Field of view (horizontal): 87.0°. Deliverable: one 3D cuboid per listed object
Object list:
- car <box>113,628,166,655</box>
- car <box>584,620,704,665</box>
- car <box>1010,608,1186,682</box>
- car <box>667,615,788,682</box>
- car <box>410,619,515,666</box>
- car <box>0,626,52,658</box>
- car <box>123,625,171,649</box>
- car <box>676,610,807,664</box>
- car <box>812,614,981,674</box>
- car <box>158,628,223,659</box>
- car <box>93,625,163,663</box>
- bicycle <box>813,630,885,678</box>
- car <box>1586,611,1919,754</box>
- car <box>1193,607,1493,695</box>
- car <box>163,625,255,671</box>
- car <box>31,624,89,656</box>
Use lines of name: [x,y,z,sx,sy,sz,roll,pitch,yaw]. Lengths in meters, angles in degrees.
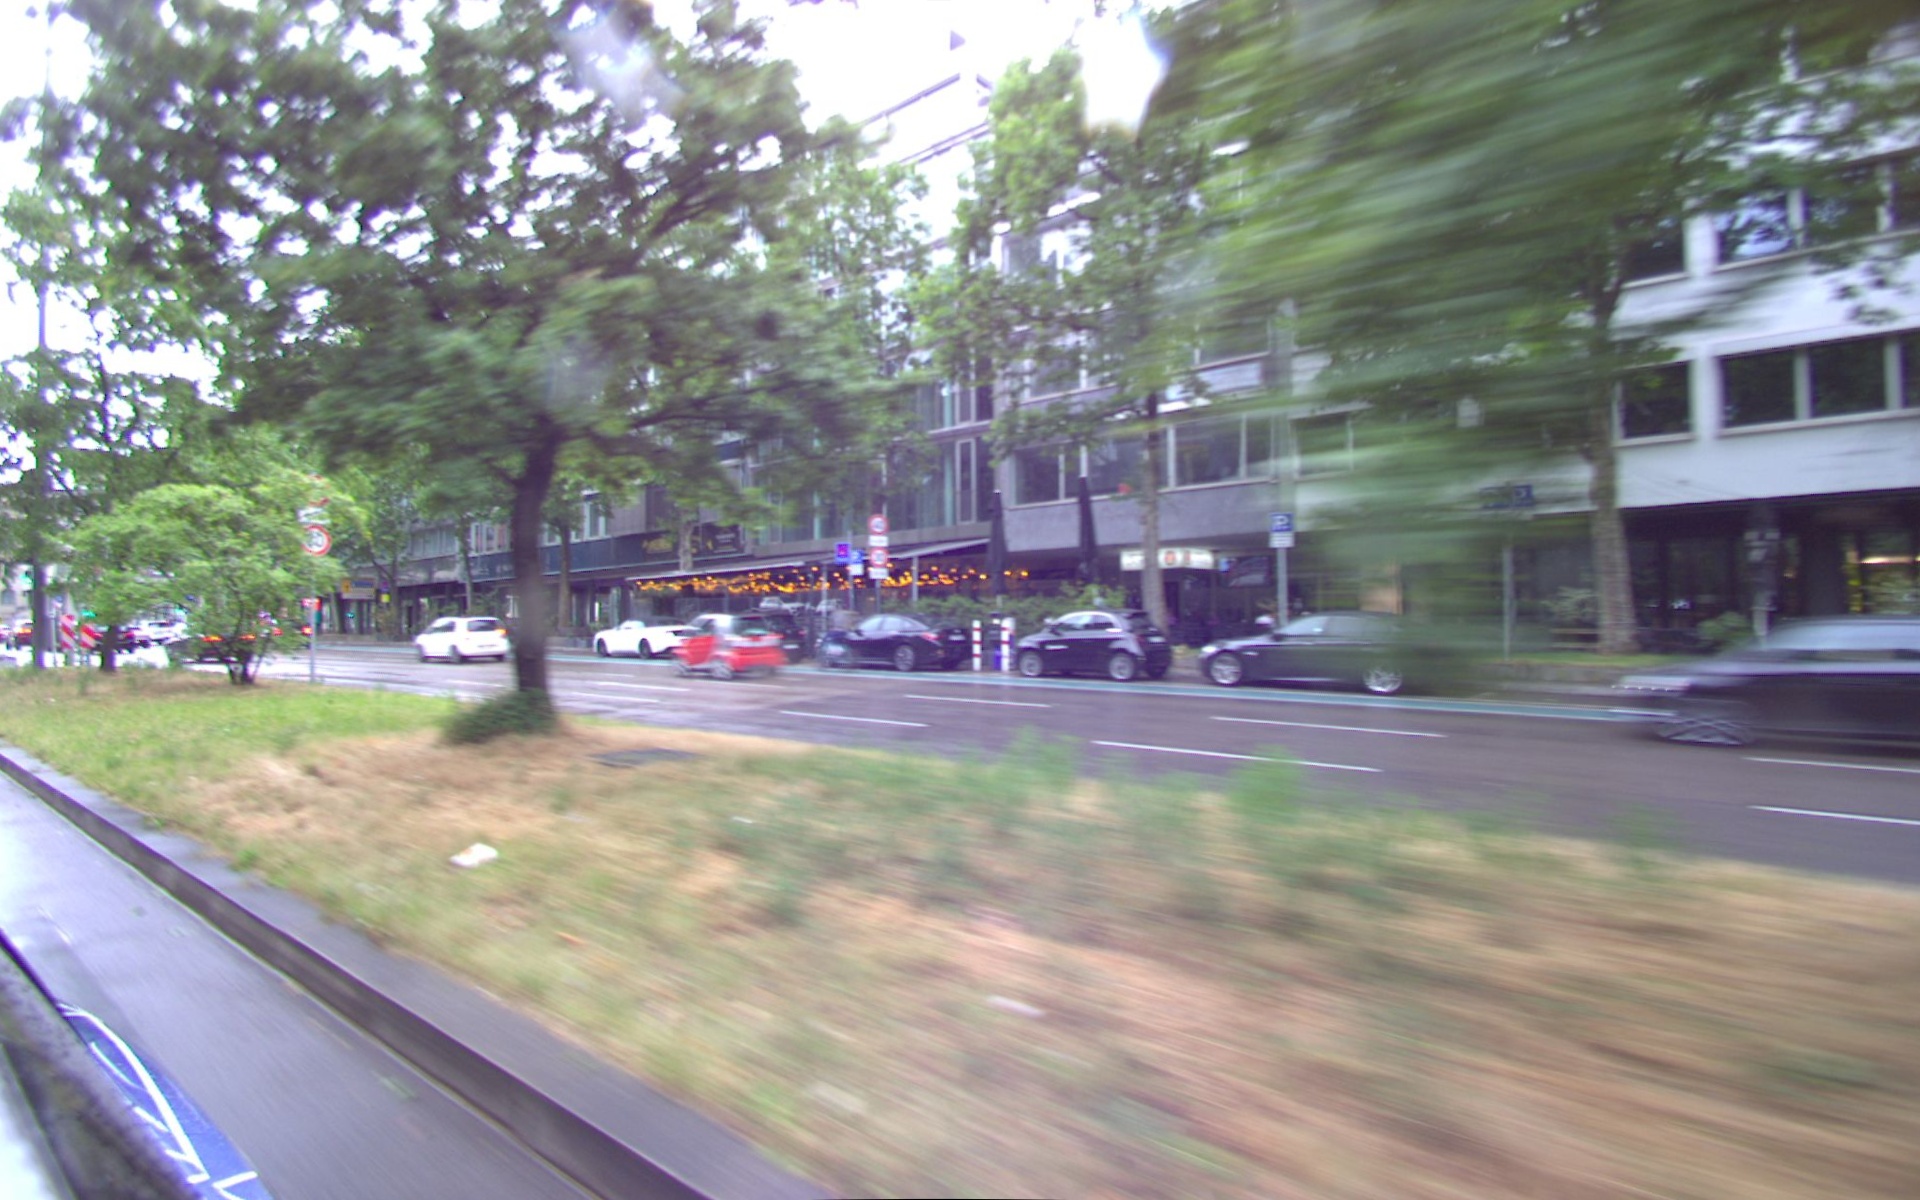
car: [-46.898,2.347,57.839,4.568,1.502,1.701,-2,-2,42]
car: [-10.615,1.431,33.828,4.679,1.364,1.543,-3,-1,41]
car: [2.969,0.959,22.121,3.457,1.479,1.676,-2,-2,40]
car: [-5.502,1.122,23.854,2.730,1.474,1.478,-2,-2,42]
car: [-16.423,1.396,33.339,3.640,1.440,1.825,-2,-2,40]
car: [-55.997,2.497,60.424,5.102,1.780,1.818,-2,-2,39]
car: [-55.207,2.520,68.680,3.996,1.577,1.735,-2,-2,39]
car: [-6.637,1.123,30.570,3.997,1.519,1.818,-2,-2,40]
car: [-1.717,1.116,26.176,4.453,1.420,1.676,-2,-2,40]
car: [-37.805,2.109,49.696,4.093,1.487,1.731,-2,-2,41]
car: [-38.236,1.990,46.491,4.093,1.486,1.732,0,3,41]
bicycle: [-2.709,1.292,24.668,1.815,1.112,0.701,-2,-2,41]
car: [9.380,0.844,11.144,3.997,1.400,1.825,-2,-2,40]
car: [6.914,0.908,18.702,4.905,1.420,1.674,-2,-2,44]
car: [-26.995,1.680,36.331,4.092,1.487,1.731,-1,0,40]
car: [-48.159,2.143,54.107,4.828,1.585,1.717,-2,-2,41]
